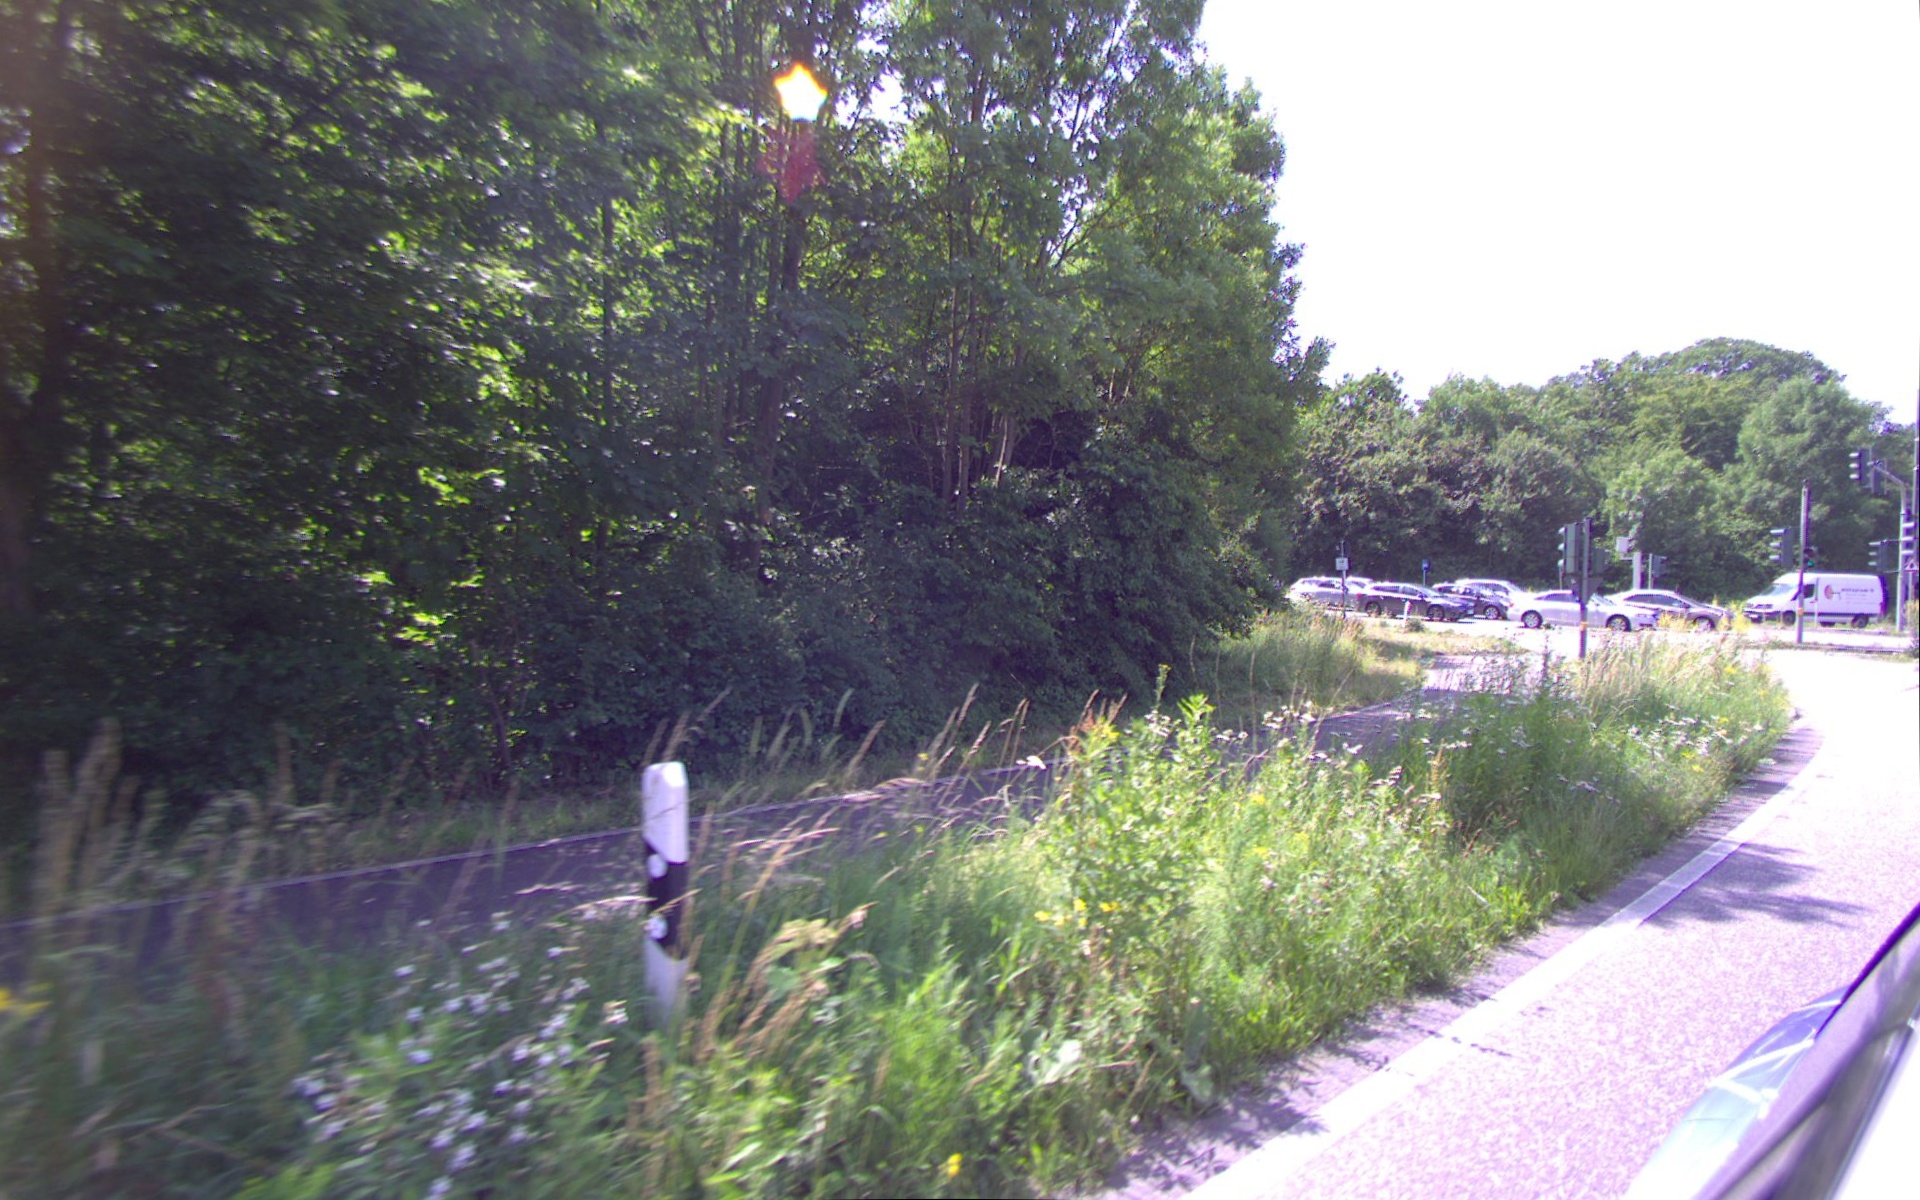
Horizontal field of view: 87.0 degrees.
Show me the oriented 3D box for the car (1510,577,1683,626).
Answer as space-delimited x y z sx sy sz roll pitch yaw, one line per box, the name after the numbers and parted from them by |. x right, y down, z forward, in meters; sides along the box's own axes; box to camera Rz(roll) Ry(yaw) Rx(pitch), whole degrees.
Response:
22.998 -0.004 36.752 1.984 1.517 4.945 -1 3 -38 | car

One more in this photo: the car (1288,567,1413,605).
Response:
18.364 -0.690 47.808 2.100 1.552 5.143 -1 4 -39 | car

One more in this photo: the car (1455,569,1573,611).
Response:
24.902 -0.487 45.605 1.964 1.679 4.183 0 3 -39 | car

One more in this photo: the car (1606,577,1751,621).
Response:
29.002 -0.070 40.946 1.965 1.554 4.429 0 3 -41 | car

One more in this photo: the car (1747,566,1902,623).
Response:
42.244 -0.274 49.525 5.942 2.678 1.977 1 0 -2 | car

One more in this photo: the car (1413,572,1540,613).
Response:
22.361 -0.387 43.959 2.085 1.554 4.430 -1 3 -39 | car

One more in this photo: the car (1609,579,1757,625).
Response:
26.818 0.038 37.626 1.961 1.464 4.100 0 3 -41 | car

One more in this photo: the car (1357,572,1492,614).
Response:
19.223 -0.340 42.051 2.074 1.516 4.629 -1 3 -39 | car
